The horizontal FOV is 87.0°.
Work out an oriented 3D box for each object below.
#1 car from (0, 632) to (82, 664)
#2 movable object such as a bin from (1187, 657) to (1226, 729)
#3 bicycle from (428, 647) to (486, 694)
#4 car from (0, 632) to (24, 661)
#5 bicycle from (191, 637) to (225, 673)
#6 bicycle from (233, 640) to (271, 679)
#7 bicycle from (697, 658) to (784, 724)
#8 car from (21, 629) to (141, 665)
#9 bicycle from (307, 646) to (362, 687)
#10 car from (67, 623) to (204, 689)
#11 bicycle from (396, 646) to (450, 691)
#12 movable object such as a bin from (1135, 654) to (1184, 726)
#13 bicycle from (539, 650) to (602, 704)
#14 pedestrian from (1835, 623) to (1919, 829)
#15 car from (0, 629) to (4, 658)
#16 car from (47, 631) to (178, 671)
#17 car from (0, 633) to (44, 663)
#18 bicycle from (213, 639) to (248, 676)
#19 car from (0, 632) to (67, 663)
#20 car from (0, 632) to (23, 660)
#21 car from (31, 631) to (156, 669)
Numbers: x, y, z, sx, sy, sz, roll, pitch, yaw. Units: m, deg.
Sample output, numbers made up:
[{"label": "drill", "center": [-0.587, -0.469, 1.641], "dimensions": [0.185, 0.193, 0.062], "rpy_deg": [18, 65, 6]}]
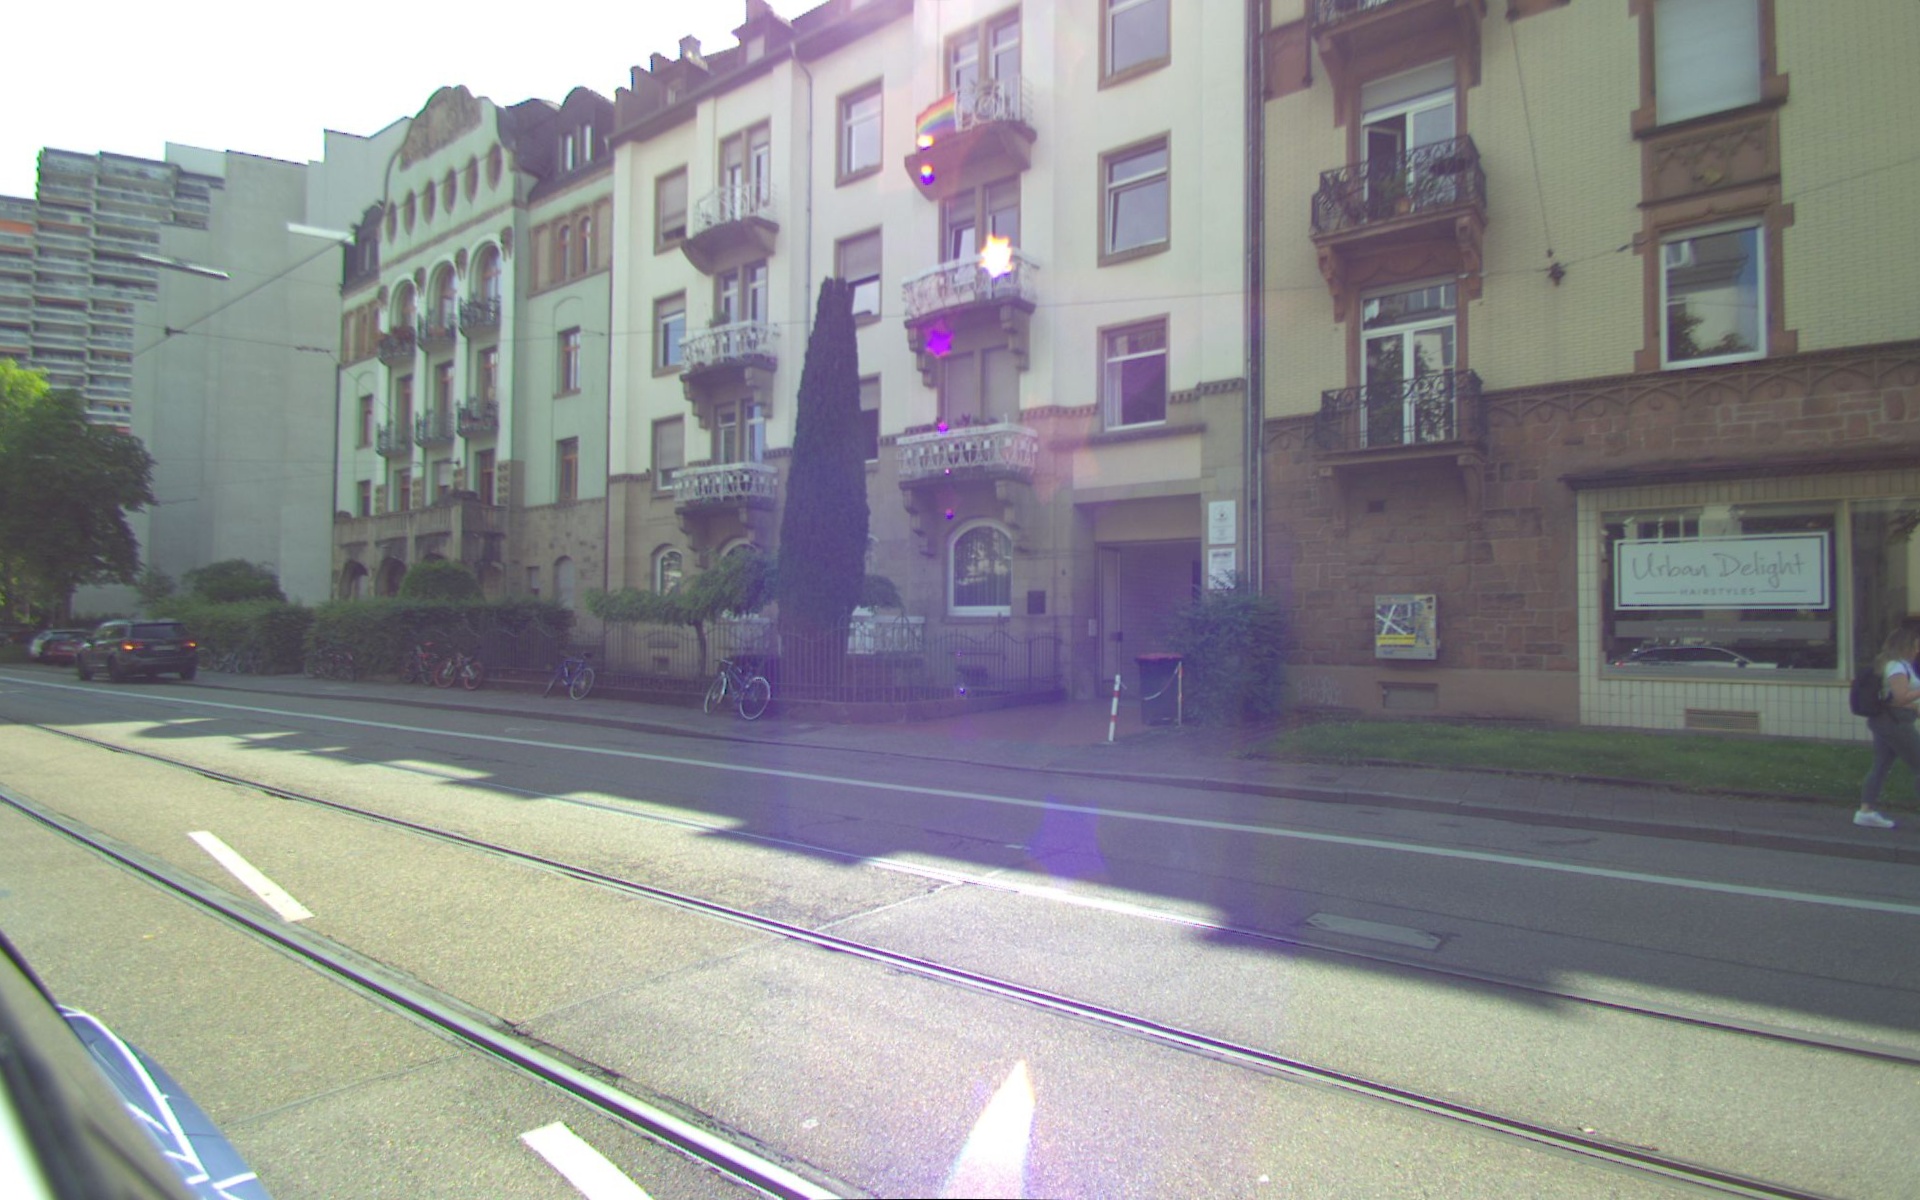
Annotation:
[{"label": "car", "center": [-44.654, 2.278, 48.407], "dimensions": [3.939, 1.519, 2.002], "rpy_deg": [2, -3, -42]}, {"label": "movable object such as a bin", "center": [3.673, 1.376, 15.117], "dimensions": [0.531, 1.037, 0.475], "rpy_deg": [0, -2, 10]}, {"label": "bicycle", "center": [-11.345, 1.577, 22.788], "dimensions": [1.785, 1.003, 0.462], "rpy_deg": [-1, -3, 40]}, {"label": "car", "center": [-52.496, 2.460, 53.798], "dimensions": [3.939, 1.519, 2.002], "rpy_deg": [2, -3, -42]}, {"label": "bicycle", "center": [-24.803, 1.813, 33.384], "dimensions": [1.785, 1.144, 0.462], "rpy_deg": [-1, -3, 40]}, {"label": "bicycle", "center": [-21.617, 1.804, 30.900], "dimensions": [1.785, 1.144, 0.462], "rpy_deg": [-1, -3, 40]}, {"label": "bicycle", "center": [-3.672, 1.482, 16.808], "dimensions": [0.461, 1.003, 1.980], "rpy_deg": [2, -3, -43]}, {"label": "car", "center": [-39.335, 2.092, 45.356], "dimensions": [3.939, 1.519, 2.002], "rpy_deg": [2, -3, -42]}, {"label": "bicycle", "center": [-16.242, 1.706, 26.252], "dimensions": [1.979, 1.003, 0.597], "rpy_deg": [-1, -3, 40]}, {"label": "car", "center": [-23.347, 1.534, 28.619], "dimensions": [4.392, 1.708, 1.899], "rpy_deg": [-1, -2, 36]}, {"label": "bicycle", "center": [-12.764, 1.610, 24.049], "dimensions": [1.785, 1.003, 0.462], "rpy_deg": [-1, -3, 40]}, {"label": "movable object such as a bin", "center": [2.974, 1.334, 15.097], "dimensions": [0.697, 1.037, 0.475], "rpy_deg": [0, -2, 11]}, {"label": "bicycle", "center": [-7.752, 1.508, 20.100], "dimensions": [0.461, 1.003, 1.788], "rpy_deg": [2, -3, -45]}, {"label": "pedestrian", "center": [7.465, 0.967, 8.000], "dimensions": [0.764, 1.553, 0.749], "rpy_deg": [-2, -3, 38]}, {"label": "car", "center": [-57.596, 2.506, 58.036], "dimensions": [3.939, 1.695, 2.002], "rpy_deg": [2, -3, -42]}, {"label": "car", "center": [-34.034, 2.021, 40.701], "dimensions": [3.939, 1.519, 2.002], "rpy_deg": [2, -3, -42]}, {"label": "car", "center": [-49.800, 2.435, 52.022], "dimensions": [3.939, 1.519, 2.002], "rpy_deg": [2, -3, -42]}, {"label": "bicycle", "center": [-23.145, 1.819, 32.098], "dimensions": [1.785, 1.144, 0.462], "rpy_deg": [-1, -3, 40]}, {"label": "car", "center": [-47.114, 2.351, 50.380], "dimensions": [3.939, 1.519, 2.002], "rpy_deg": [2, -3, -42]}, {"label": "car", "center": [-54.691, 2.532, 56.096], "dimensions": [3.939, 1.519, 2.002], "rpy_deg": [2, -3, -42]}, {"label": "car", "center": [-36.723, 2.100, 42.949], "dimensions": [3.939, 1.519, 2.002], "rpy_deg": [2, -3, -42]}]
